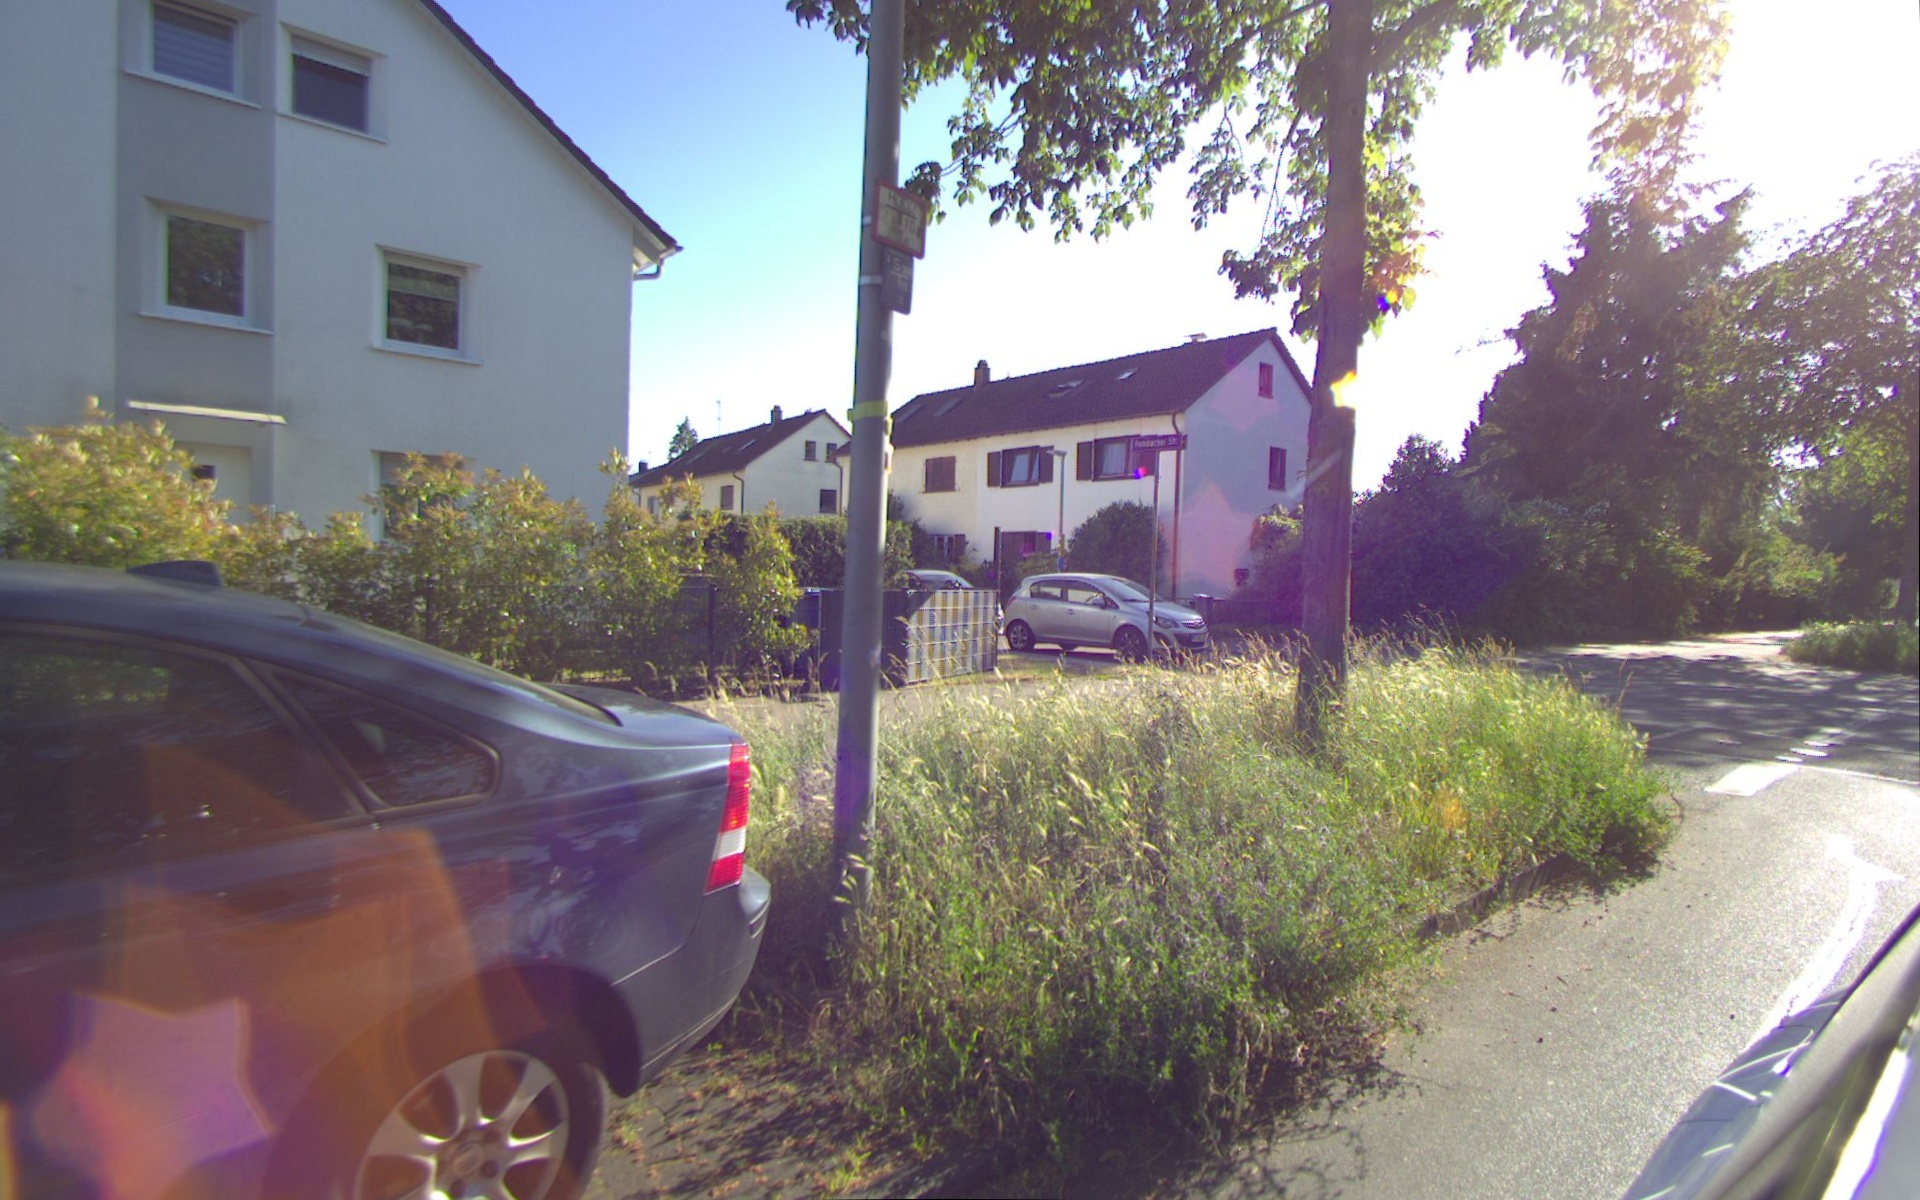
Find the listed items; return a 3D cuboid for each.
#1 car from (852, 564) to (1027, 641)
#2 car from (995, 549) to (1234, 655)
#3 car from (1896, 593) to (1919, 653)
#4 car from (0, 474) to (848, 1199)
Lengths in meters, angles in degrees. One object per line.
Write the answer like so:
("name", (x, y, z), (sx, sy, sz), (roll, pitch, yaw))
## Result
("car", (-0.522, 0.000, 22.030), (1.817, 1.462, 3.754), (0, 2, -41))
("car", (2.697, -0.040, 18.278), (3.988, 1.660, 1.748), (3, 2, 44))
("car", (26.966, 0.623, 27.015), (3.923, 1.528, 2.002), (-1, 3, -34))
("car", (-2.488, 0.660, 1.716), (1.993, 1.642, 4.313), (-2, -1, 43))
